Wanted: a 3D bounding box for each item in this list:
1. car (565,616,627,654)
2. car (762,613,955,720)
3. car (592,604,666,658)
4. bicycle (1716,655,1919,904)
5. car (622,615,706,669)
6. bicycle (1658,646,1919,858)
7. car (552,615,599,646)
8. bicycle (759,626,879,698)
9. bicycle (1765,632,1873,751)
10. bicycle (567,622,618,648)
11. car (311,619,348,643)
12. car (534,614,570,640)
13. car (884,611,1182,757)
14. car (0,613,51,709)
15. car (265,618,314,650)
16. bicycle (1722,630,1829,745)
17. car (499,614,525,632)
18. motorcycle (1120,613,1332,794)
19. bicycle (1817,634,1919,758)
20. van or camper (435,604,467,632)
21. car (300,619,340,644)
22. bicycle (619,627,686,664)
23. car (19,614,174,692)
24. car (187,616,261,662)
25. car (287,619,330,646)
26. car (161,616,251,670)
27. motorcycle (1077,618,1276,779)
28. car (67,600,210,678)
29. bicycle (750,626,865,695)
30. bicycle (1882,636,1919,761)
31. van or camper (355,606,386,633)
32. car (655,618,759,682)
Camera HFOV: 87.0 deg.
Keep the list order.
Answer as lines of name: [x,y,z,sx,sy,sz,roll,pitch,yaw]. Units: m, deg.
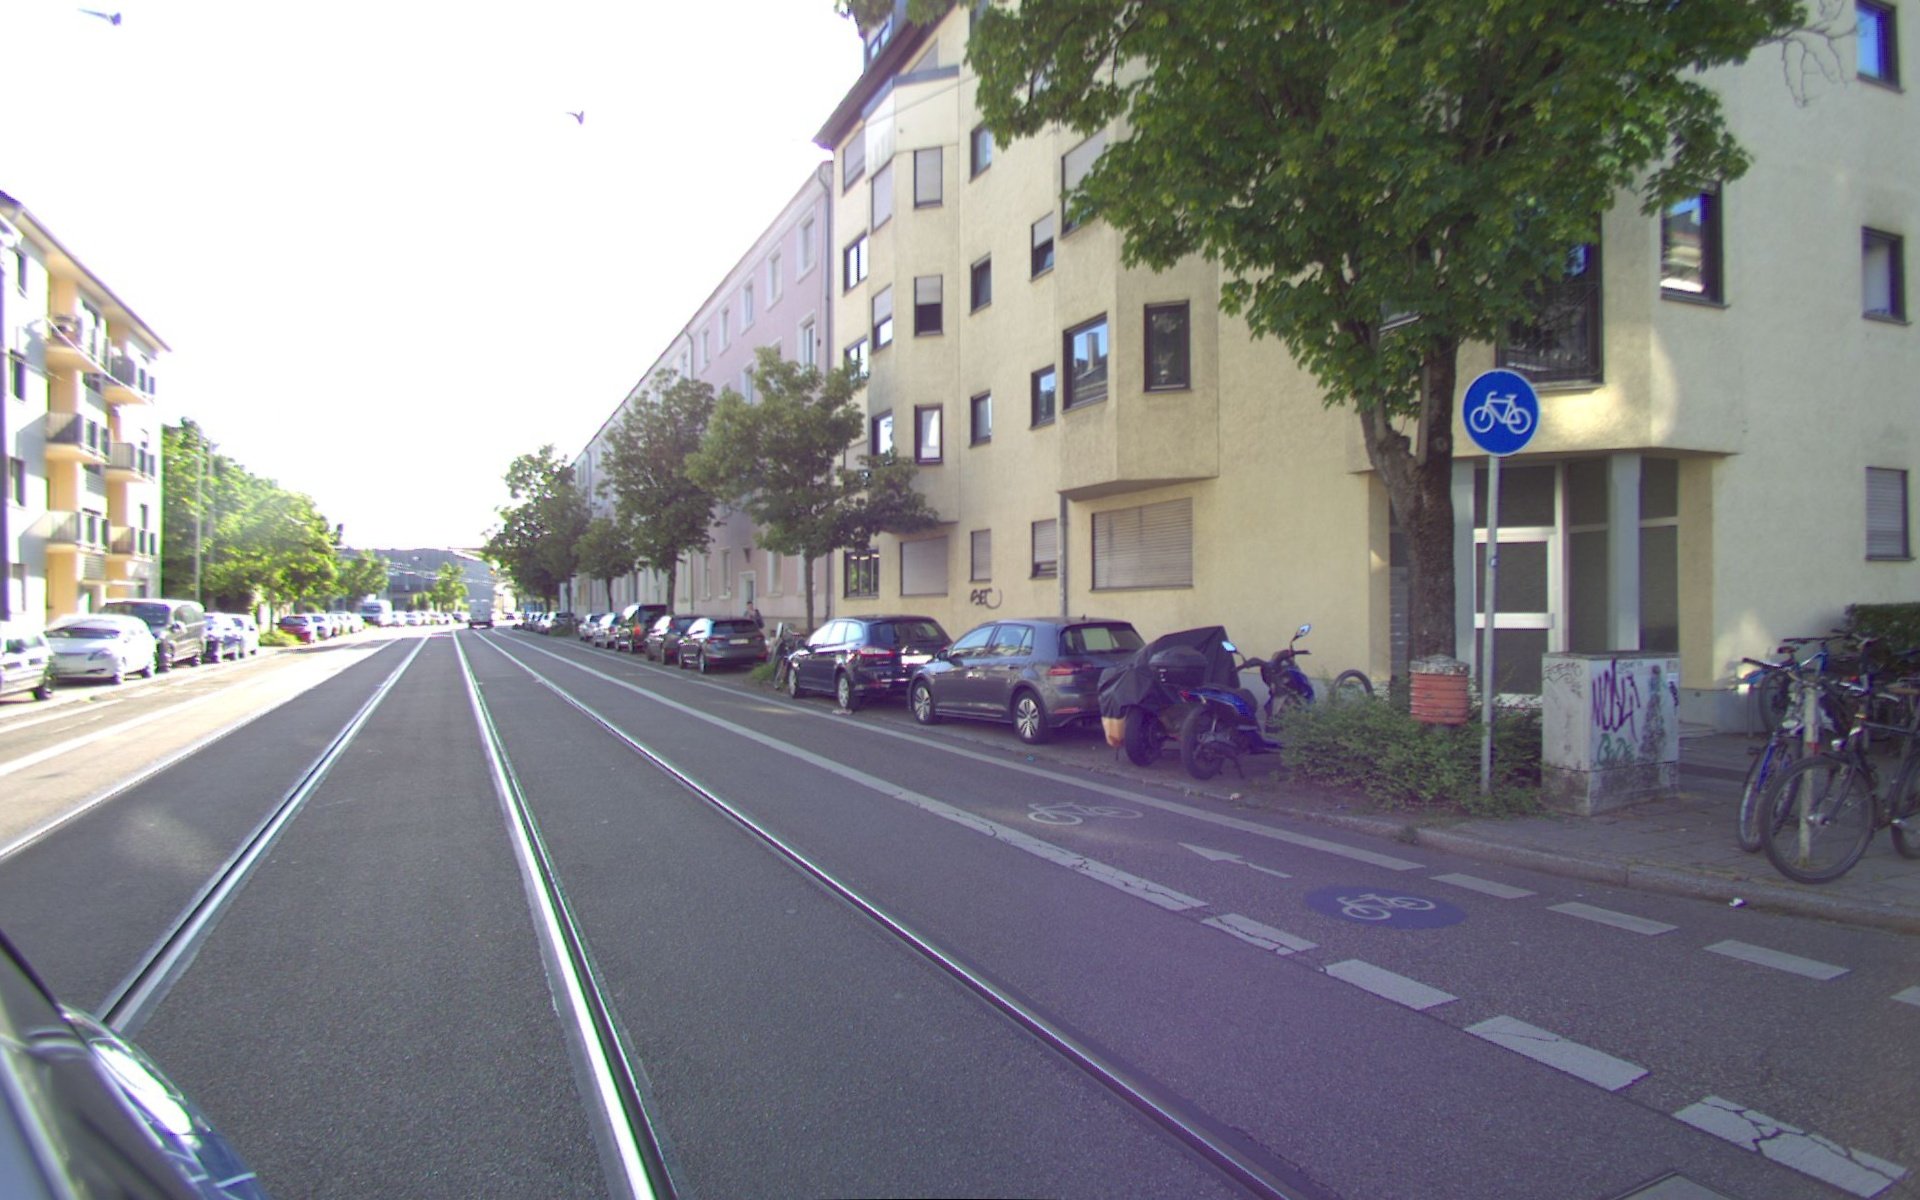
car: [-15.658,1.459,43.396,1.740,1.484,4.873,-1,-1,-29]
car: [-1.910,1.020,17.332,1.740,1.554,4.749,0,-1,-26]
car: [-12.656,1.155,38.532,1.741,1.859,4.437,-3,0,-30]
bicycle: [4.890,0.871,5.368,1.850,1.093,0.597,0,-1,-25]
car: [-9.347,1.265,31.753,1.740,1.484,4.194,-3,0,-27]
bicycle: [5.073,0.847,6.099,1.780,1.093,0.597,0,-1,-25]
car: [-19.671,1.542,51.662,1.740,1.484,4.767,-1,-1,-27]
bicycle: [-2.820,1.217,20.309,2.260,1.344,0.702,0,-1,-27]
bicycle: [8.428,0.867,9.918,1.369,1.054,0.333,-2,0,-30]
bicycle: [-17.284,1.641,47.617,2.114,1.151,0.662,-2,0,-31]
car: [-44.158,2.175,70.945,1.798,1.583,4.492,2,-2,-28]
car: [-27.462,1.801,68.004,1.660,1.635,4.060,0,-1,-31]
car: [0.748,0.936,13.045,1.711,1.554,4.141,0,-1,-32]
car: [-16.657,0.999,16.553,1.586,1.583,3.916,2,-2,-26]
car: [-34.971,1.768,52.891,1.586,1.583,4.492,2,-2,-27]
bicycle: [8.245,0.857,10.219,1.369,1.054,0.333,-2,0,-30]
car: [-40.841,2.064,92.242,1.660,1.563,3.963,0,-1,-31]
motorcycle: [2.402,0.852,9.044,1.942,1.458,0.722,0,-1,-34]
bicycle: [8.614,0.874,9.548,1.369,1.054,0.333,-2,0,-30]
van or camper: [-48.401,1.667,96.145,2.336,2.572,6.855,0,-1,-29]
car: [-42.115,2.031,66.671,1.798,1.583,4.492,2,-2,-28]
bicycle: [-10.719,1.568,35.312,2.082,1.113,0.749,-3,1,-29]
car: [-19.118,1.132,22.592,1.775,1.583,3.916,2,-2,-28]
car: [-26.449,1.379,36.471,1.531,1.554,3.644,2,-2,-27]
car: [-39.655,1.950,61.719,1.798,1.583,4.492,2,-2,-28]
car: [-24.066,1.339,32.435,1.586,1.583,4.232,2,-2,-27]
motorcycle: [2.192,0.918,10.171,1.942,1.458,0.838,0,-1,-34]
car: [-22.265,1.036,27.674,1.902,1.936,5.020,2,-2,-26]
bicycle: [-3.149,1.223,20.965,2.260,1.344,0.702,0,-1,-27]
bicycle: [8.975,0.868,9.285,1.369,1.054,0.333,-2,0,-30]
van or camper: [-57.605,1.873,98.959,2.056,2.582,5.712,-1,0,-25]
car: [-6.931,1.284,27.417,1.740,1.484,4.054,-3,0,-28]
